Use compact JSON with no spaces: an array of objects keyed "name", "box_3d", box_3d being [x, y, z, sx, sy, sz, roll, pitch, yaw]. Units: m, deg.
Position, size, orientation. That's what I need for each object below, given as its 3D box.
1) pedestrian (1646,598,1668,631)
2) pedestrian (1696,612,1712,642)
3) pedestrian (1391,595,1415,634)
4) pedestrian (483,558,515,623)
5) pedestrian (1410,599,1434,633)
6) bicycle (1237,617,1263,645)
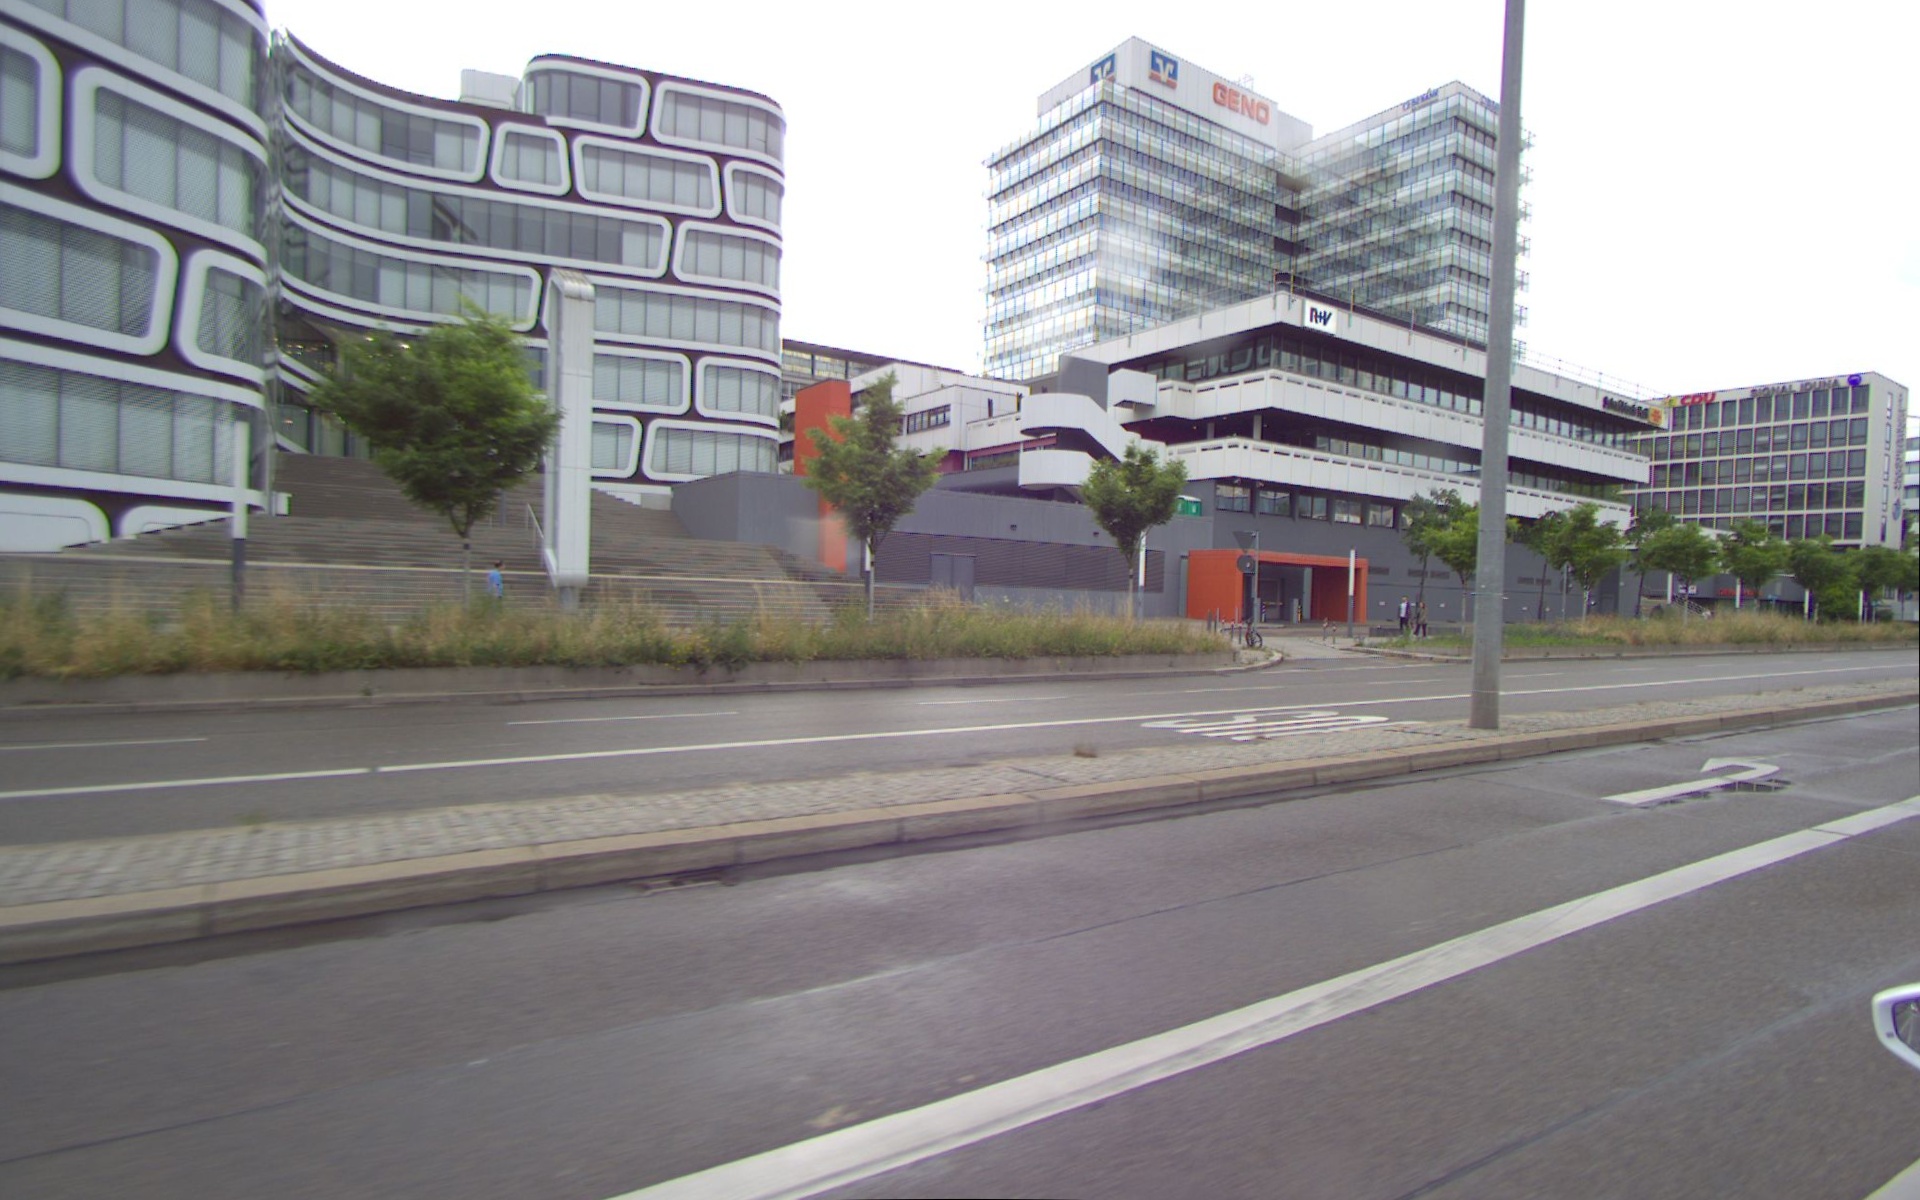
[{"name":"pedestrian","box_3d":[39.301,0.831,56.633,0.622,1.832,0.779,2,0,-33]},{"name":"pedestrian","box_3d":[46.572,1.708,62.872,0.622,1.832,0.626,2,0,-33]},{"name":"pedestrian","box_3d":[19.838,0.645,44.951,0.789,1.680,0.614,2,-1,-32]},{"name":"pedestrian","box_3d":[-11.776,-0.233,25.657,0.632,1.632,0.608,2,0,-30]},{"name":"pedestrian","box_3d":[20.380,0.710,44.317,0.789,1.465,0.614,2,0,-32]},{"name":"bicycle","box_3d":[9.363,0.990,32.410,0.598,0.869,1.656,2,0,23]}]
